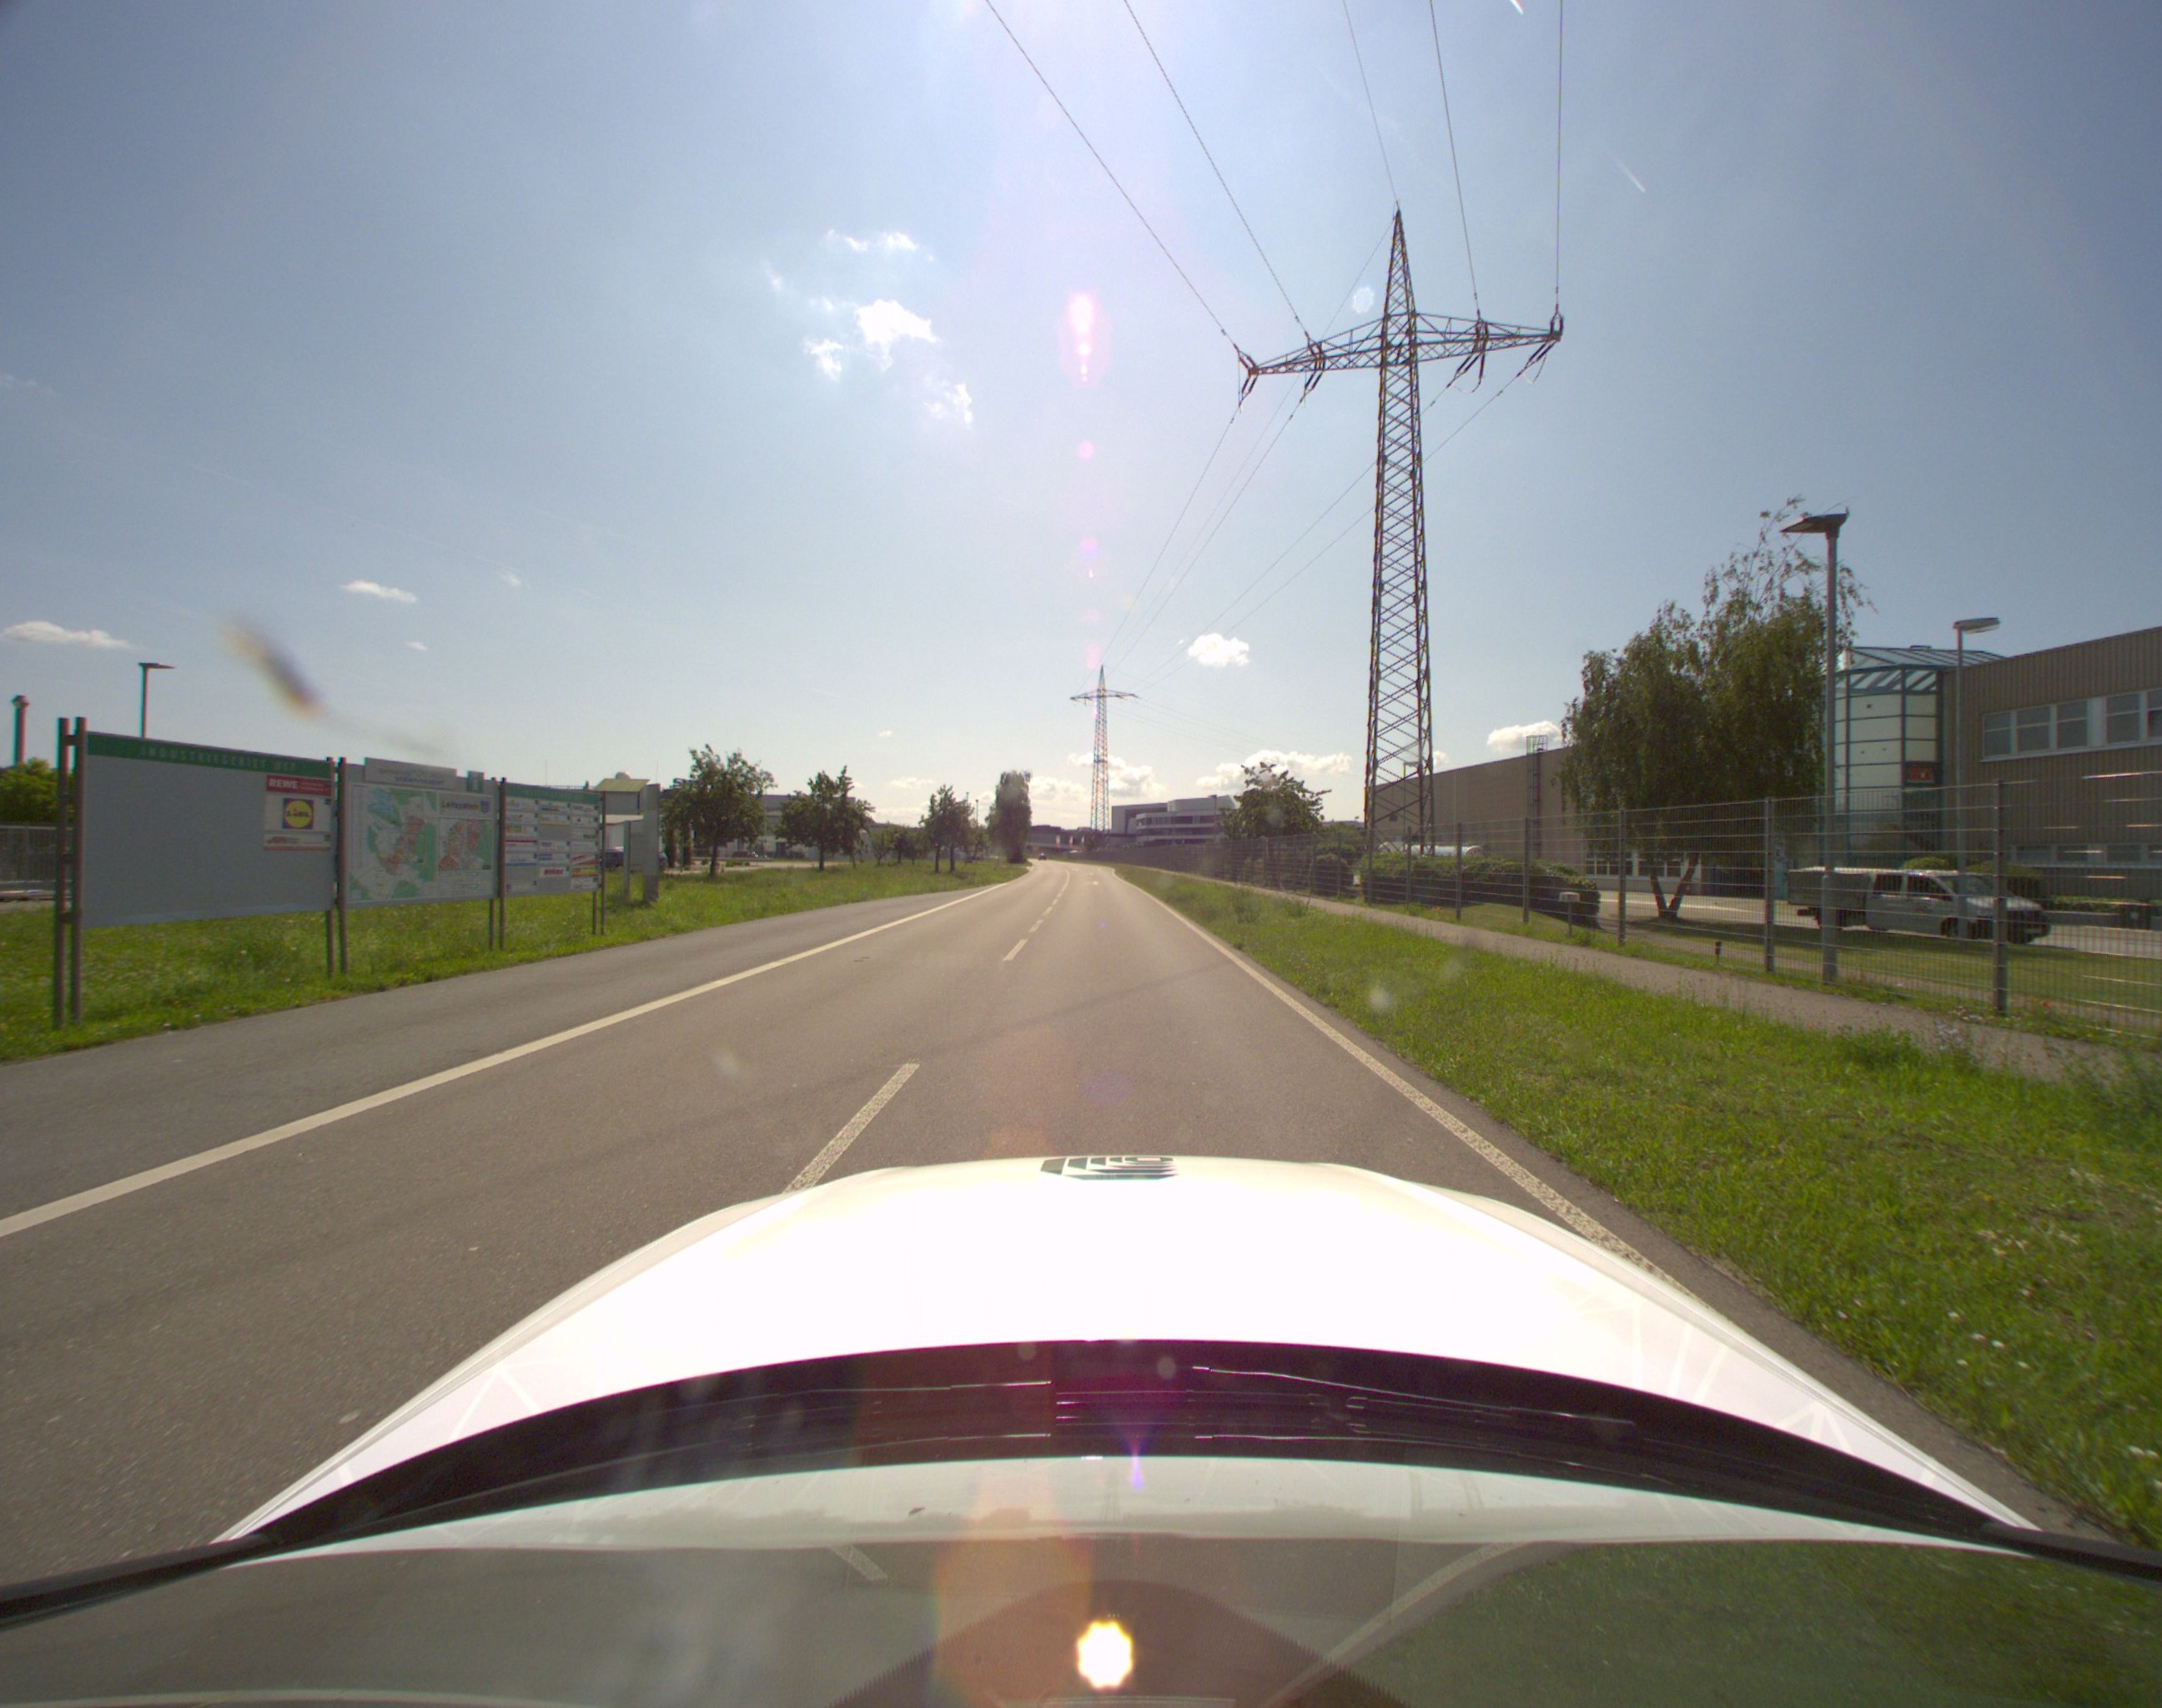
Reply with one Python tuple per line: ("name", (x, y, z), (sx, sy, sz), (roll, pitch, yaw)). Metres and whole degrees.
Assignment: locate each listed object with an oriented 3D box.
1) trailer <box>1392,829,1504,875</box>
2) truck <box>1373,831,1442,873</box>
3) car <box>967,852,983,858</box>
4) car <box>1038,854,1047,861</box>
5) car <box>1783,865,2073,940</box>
("trailer", (32.405, -0.199, 72.805), (3.585, 3.735, 12.213), (0, 0, -6))
("truck", (31.772, -0.170, 79.533), (3.592, 3.867, 6.391), (-1, 0, -8))
("car", (-27.018, 0.292, 208.048), (3.983, 1.574, 1.995), (1, 0, -7))
("car", (-9.452, 0.872, 200.995), (2.007, 1.508, 3.997), (1, 0, -2))
("car", (23.706, 1.258, 23.240), (2.107, 1.779, 5.642), (1, 0, -7))
